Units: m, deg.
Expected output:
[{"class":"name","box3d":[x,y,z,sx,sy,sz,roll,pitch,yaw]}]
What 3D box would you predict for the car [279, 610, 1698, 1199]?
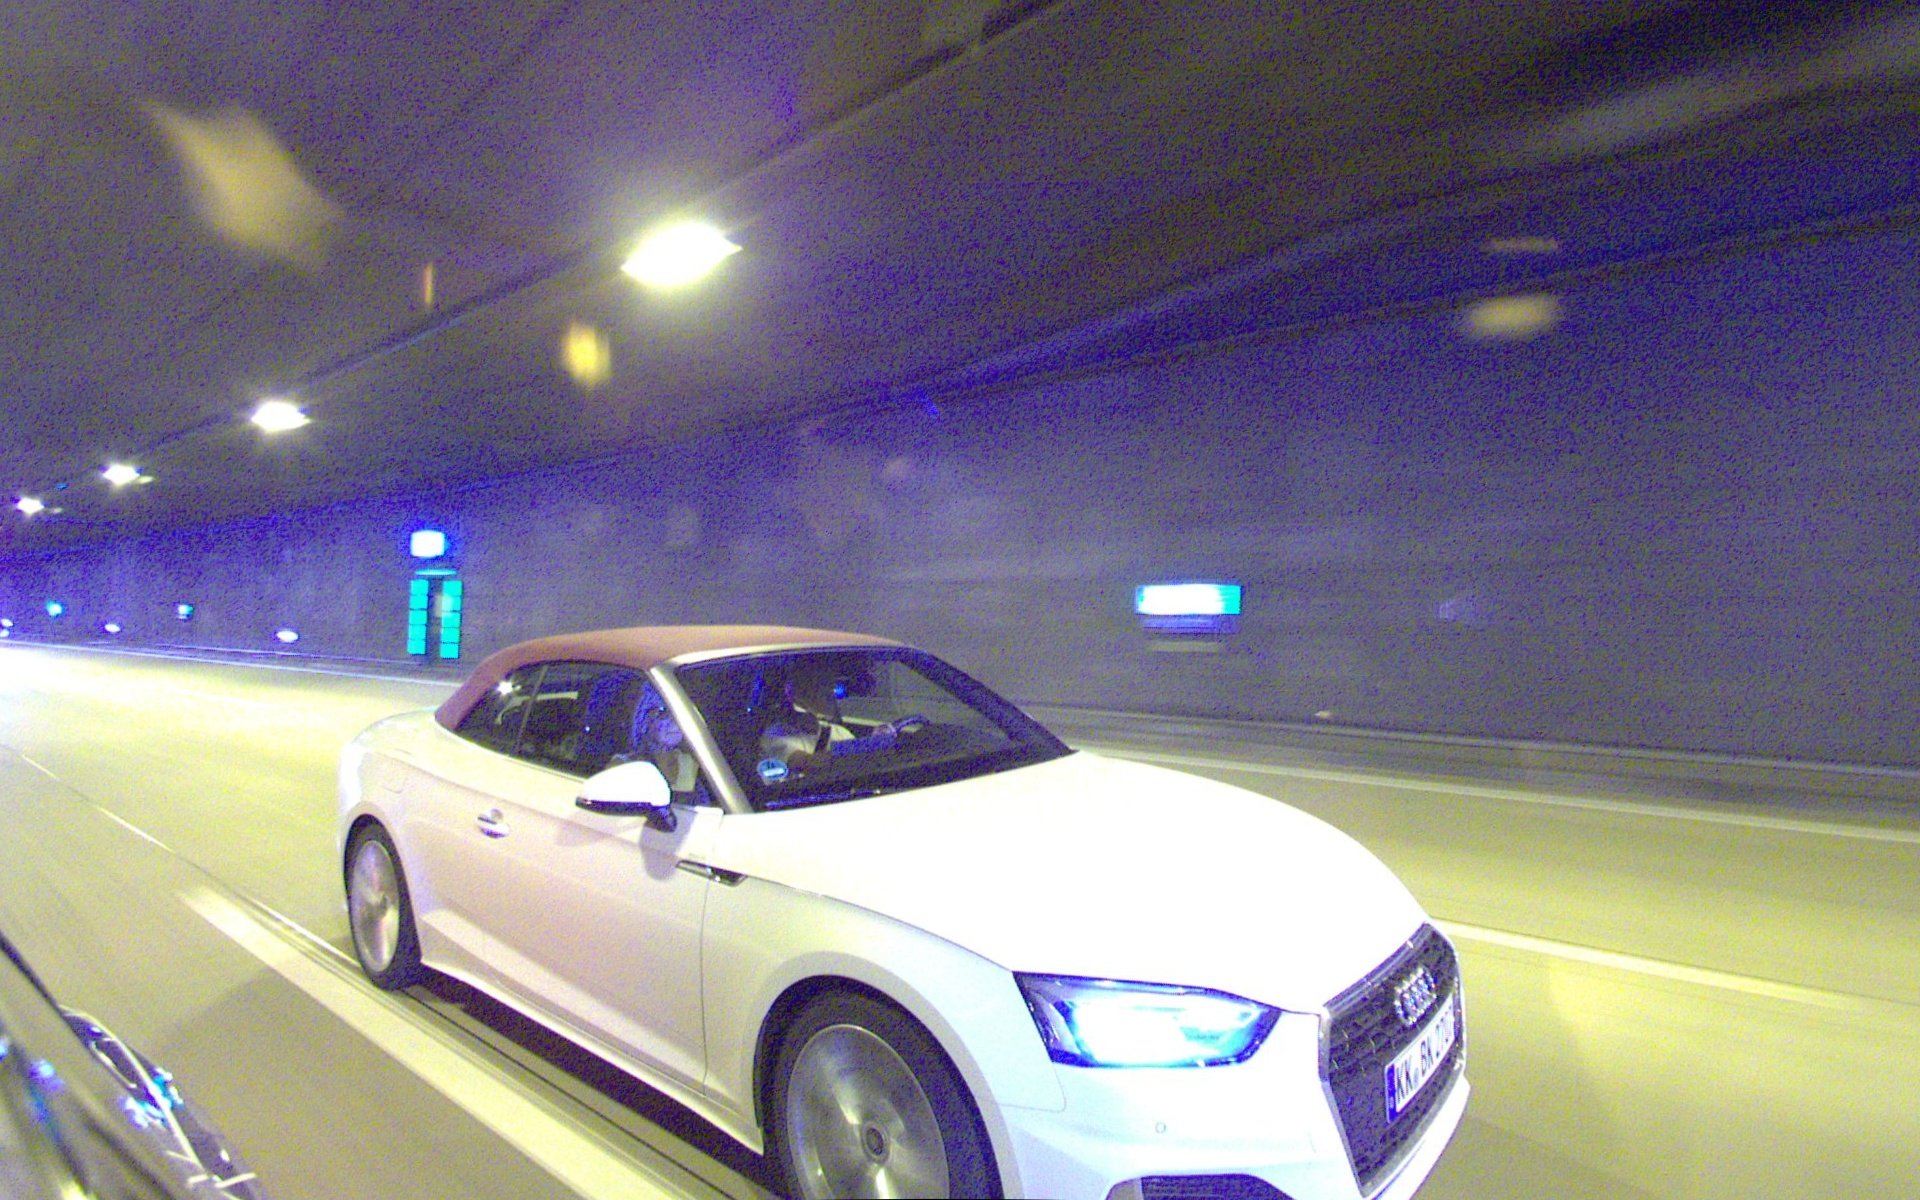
[{"class":"car","box3d":[-0.629,0.766,3.529,5.058,1.429,1.684,0,-1,42]}]
